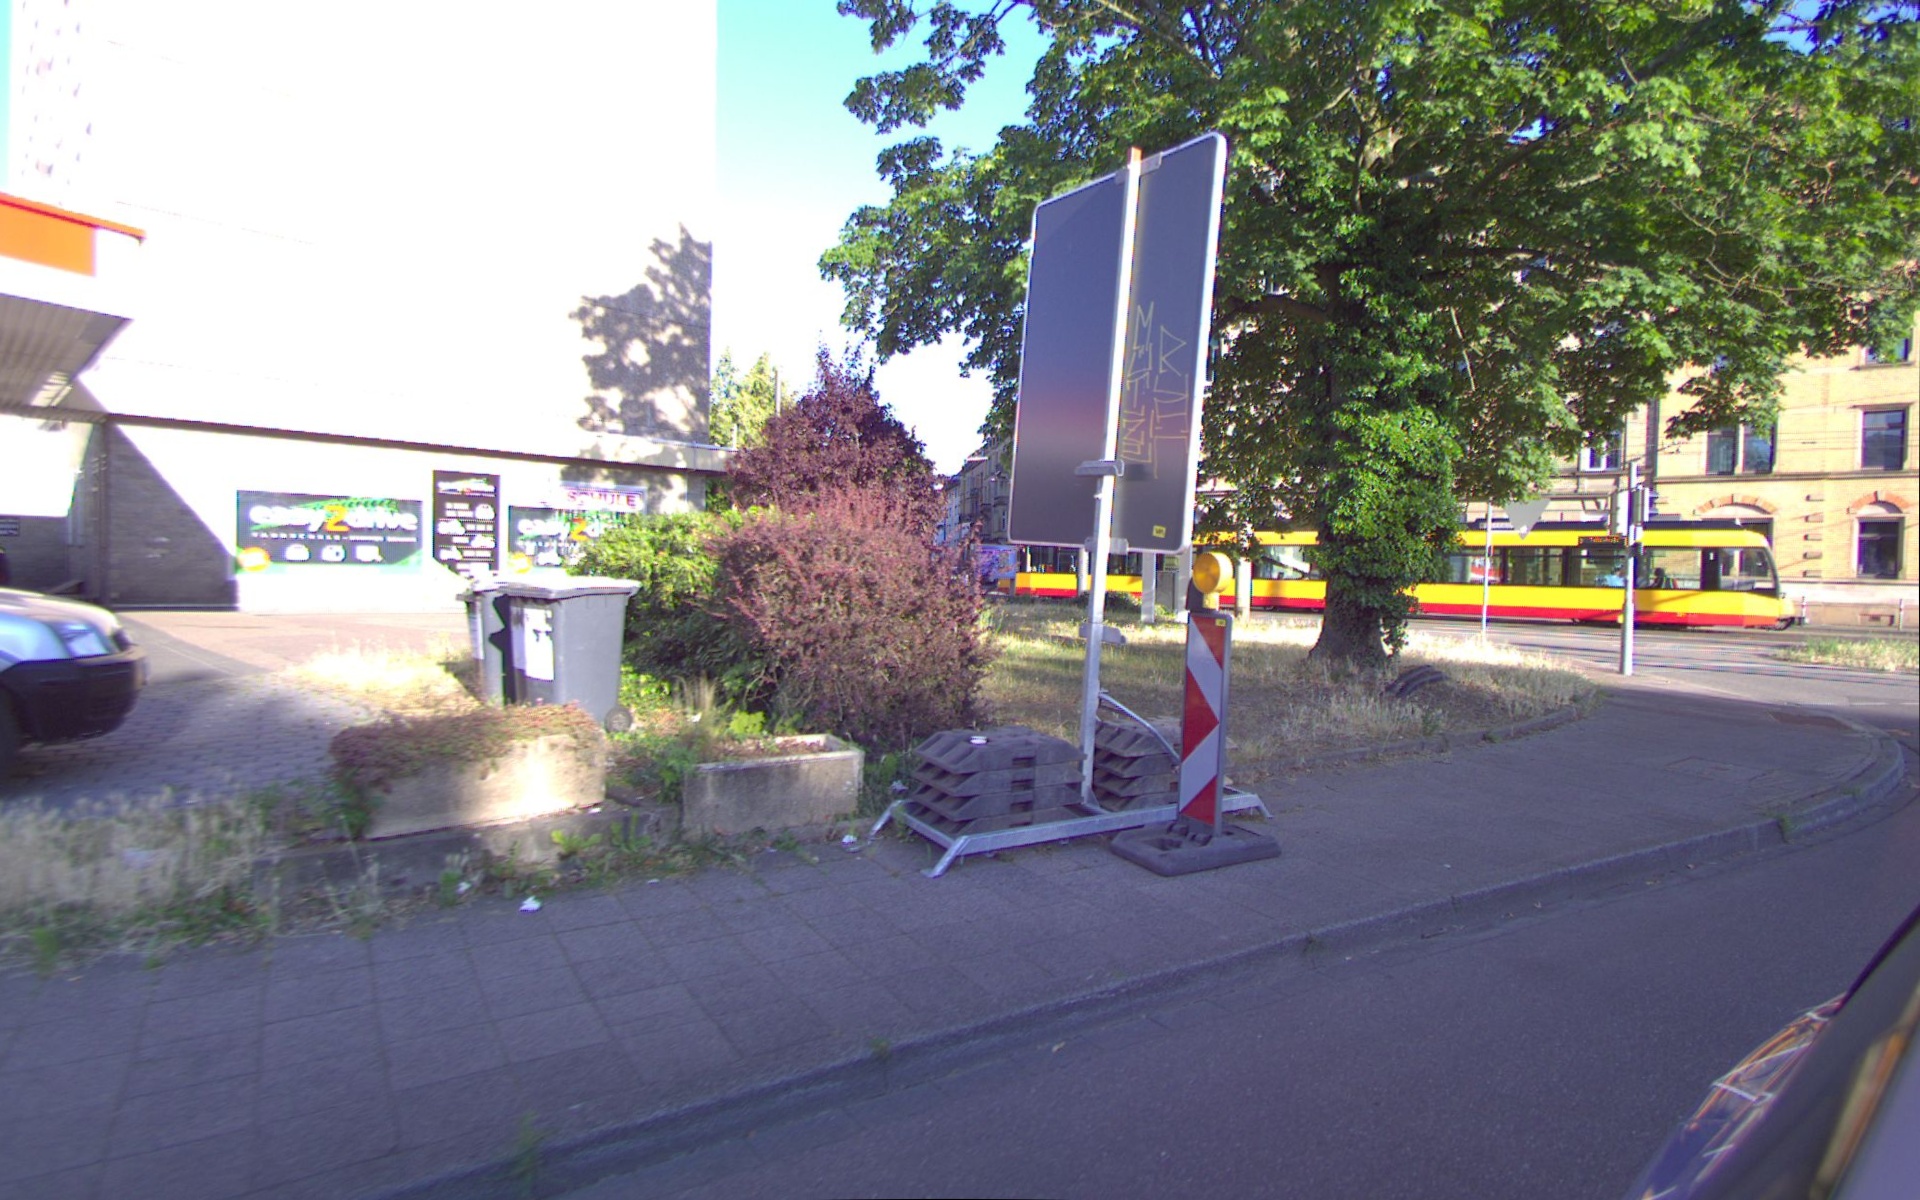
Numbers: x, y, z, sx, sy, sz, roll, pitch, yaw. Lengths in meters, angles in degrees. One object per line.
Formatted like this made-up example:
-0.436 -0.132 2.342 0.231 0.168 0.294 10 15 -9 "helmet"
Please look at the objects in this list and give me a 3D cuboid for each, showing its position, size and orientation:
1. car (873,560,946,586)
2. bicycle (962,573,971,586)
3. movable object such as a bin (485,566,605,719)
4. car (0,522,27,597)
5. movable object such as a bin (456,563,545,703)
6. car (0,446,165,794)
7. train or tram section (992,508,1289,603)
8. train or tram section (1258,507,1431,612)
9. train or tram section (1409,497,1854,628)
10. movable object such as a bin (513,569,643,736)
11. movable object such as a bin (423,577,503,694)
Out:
-2.953 -1.594 59.172 4.143 1.396 1.789 3 3 39 "car"
0.601 -1.758 87.338 0.715 1.097 2.116 1 1 2 "bicycle"
-3.031 0.284 7.388 0.662 1.042 0.573 0 2 -40 "movable object such as a bin"
-20.501 -0.867 20.663 3.989 1.466 1.968 3 3 45 "car"
-3.568 0.241 7.888 0.573 1.042 0.524 1 2 -19 "movable object such as a bin"
-6.006 0.074 4.514 3.822 1.613 1.624 -1 3 -37 "car"
7.210 -1.962 43.237 12.969 3.551 2.826 3 3 43 "train or tram section"
14.091 -1.497 37.184 5.278 3.551 2.830 3 2 39 "train or tram section"
20.576 -1.256 32.018 11.238 3.551 2.831 3 2 38 "train or tram section"
-2.574 0.323 6.811 0.662 1.042 0.573 0 2 -40 "movable object such as a bin"
-4.119 0.277 8.407 0.573 0.919 0.488 0 2 -25 "movable object such as a bin"
